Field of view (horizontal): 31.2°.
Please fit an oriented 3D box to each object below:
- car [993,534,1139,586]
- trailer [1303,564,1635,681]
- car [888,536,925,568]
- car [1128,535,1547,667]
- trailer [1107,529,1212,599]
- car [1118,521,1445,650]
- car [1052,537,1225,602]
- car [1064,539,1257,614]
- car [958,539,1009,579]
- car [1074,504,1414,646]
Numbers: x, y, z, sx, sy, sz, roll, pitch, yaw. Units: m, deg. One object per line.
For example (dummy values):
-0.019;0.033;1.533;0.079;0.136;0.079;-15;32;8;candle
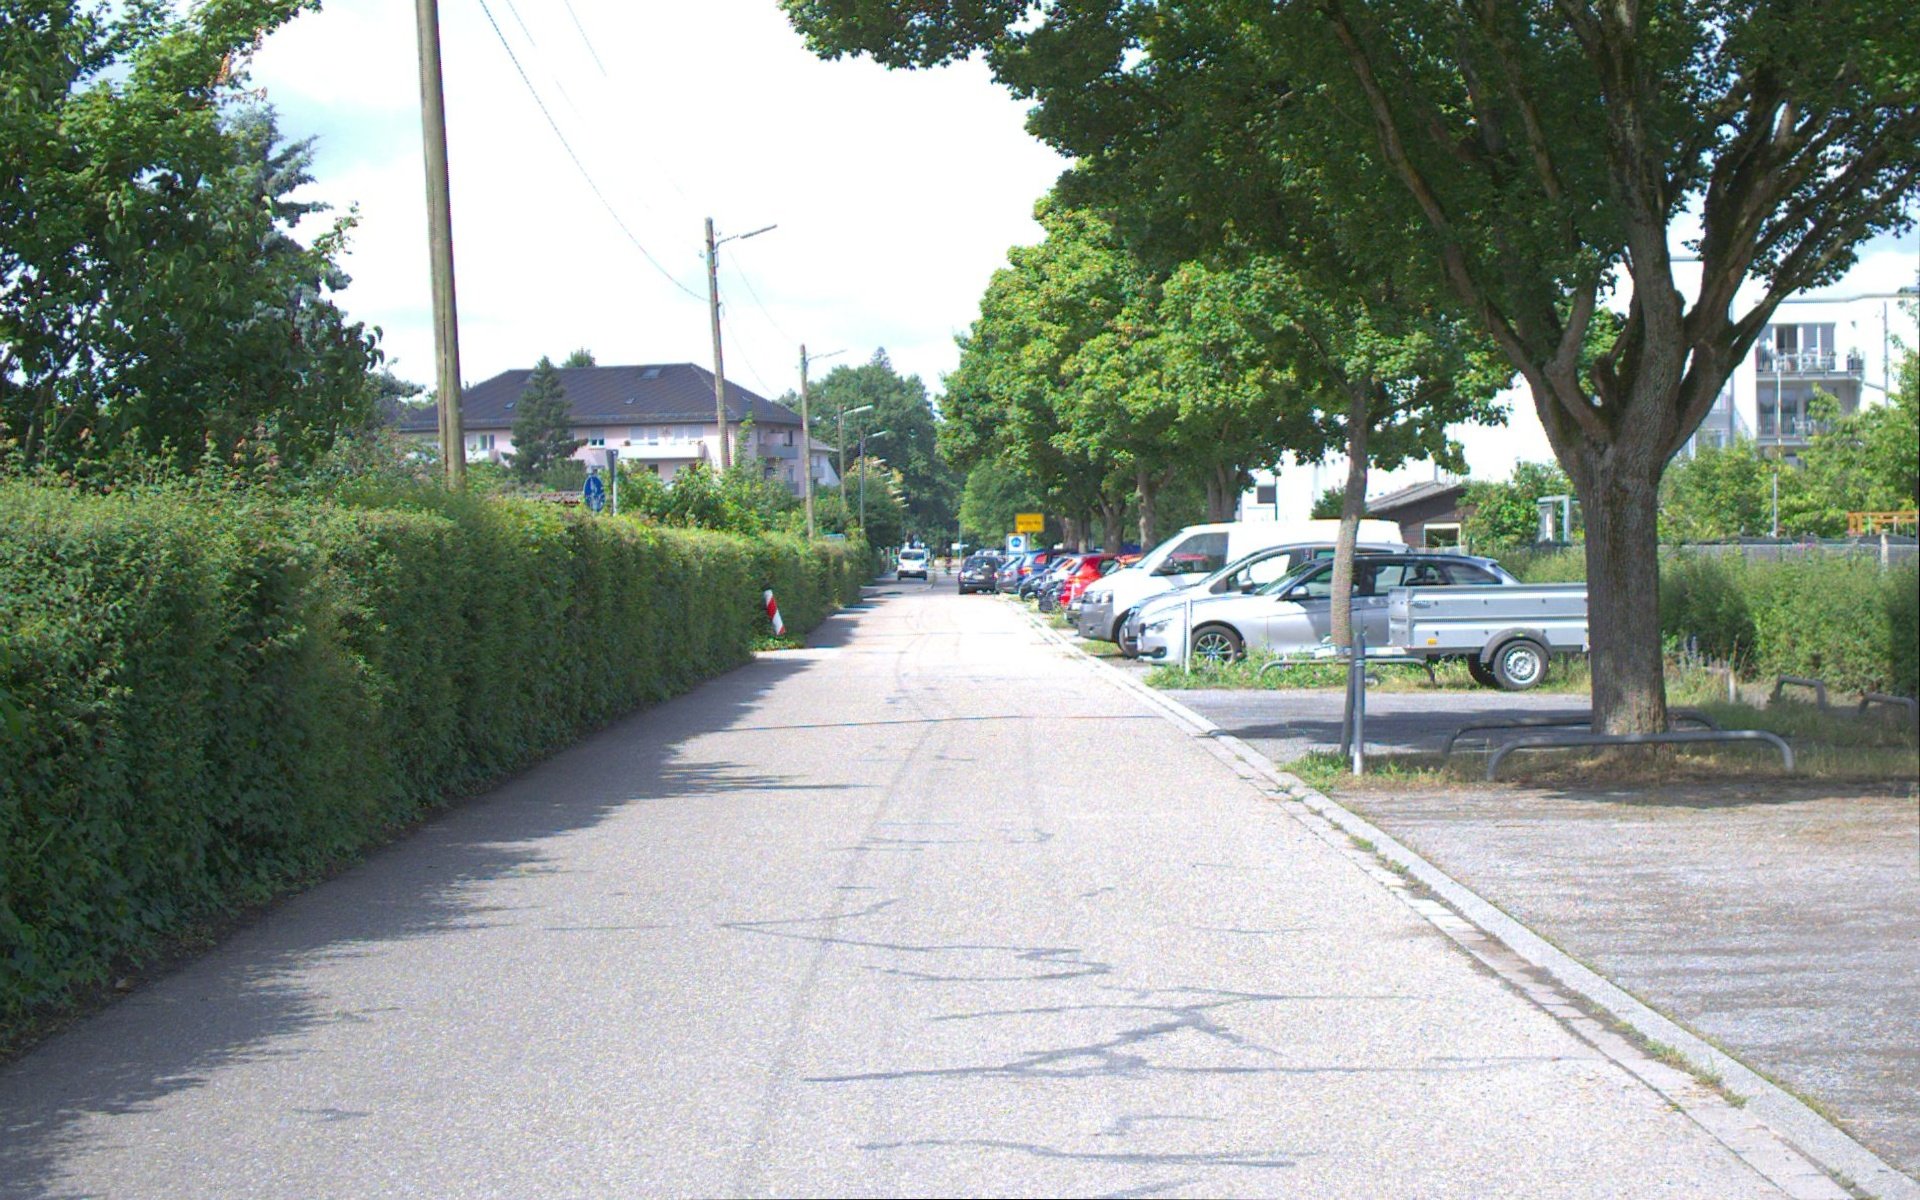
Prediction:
3.343;-1.269;109.261;4.548;1.573;1.809;1;0;-1;car
5.172;0.213;35.239;3.100;1.138;2.000;1;1;0;trailer
-3.139;-2.817;202.605;1.903;1.808;4.000;1;1;2;car
4.338;-0.010;39.974;4.577;1.461;2.000;0;1;-3;car
5.017;-0.910;86.548;2.449;1.714;1.518;1;2;-4;trailer
4.342;-0.211;46.929;4.243;1.587;2.000;-2;1;0;car
4.267;-0.736;82.359;4.065;1.506;1.957;1;0;3;car
4.204;-0.497;72.072;3.987;1.514;1.854;1;0;4;car
0.926;-1.590;134.092;1.663;1.501;3.999;1;1;5;car
4.058;-0.373;49.674;4.634;1.880;2.112;-2;1;-1;car
